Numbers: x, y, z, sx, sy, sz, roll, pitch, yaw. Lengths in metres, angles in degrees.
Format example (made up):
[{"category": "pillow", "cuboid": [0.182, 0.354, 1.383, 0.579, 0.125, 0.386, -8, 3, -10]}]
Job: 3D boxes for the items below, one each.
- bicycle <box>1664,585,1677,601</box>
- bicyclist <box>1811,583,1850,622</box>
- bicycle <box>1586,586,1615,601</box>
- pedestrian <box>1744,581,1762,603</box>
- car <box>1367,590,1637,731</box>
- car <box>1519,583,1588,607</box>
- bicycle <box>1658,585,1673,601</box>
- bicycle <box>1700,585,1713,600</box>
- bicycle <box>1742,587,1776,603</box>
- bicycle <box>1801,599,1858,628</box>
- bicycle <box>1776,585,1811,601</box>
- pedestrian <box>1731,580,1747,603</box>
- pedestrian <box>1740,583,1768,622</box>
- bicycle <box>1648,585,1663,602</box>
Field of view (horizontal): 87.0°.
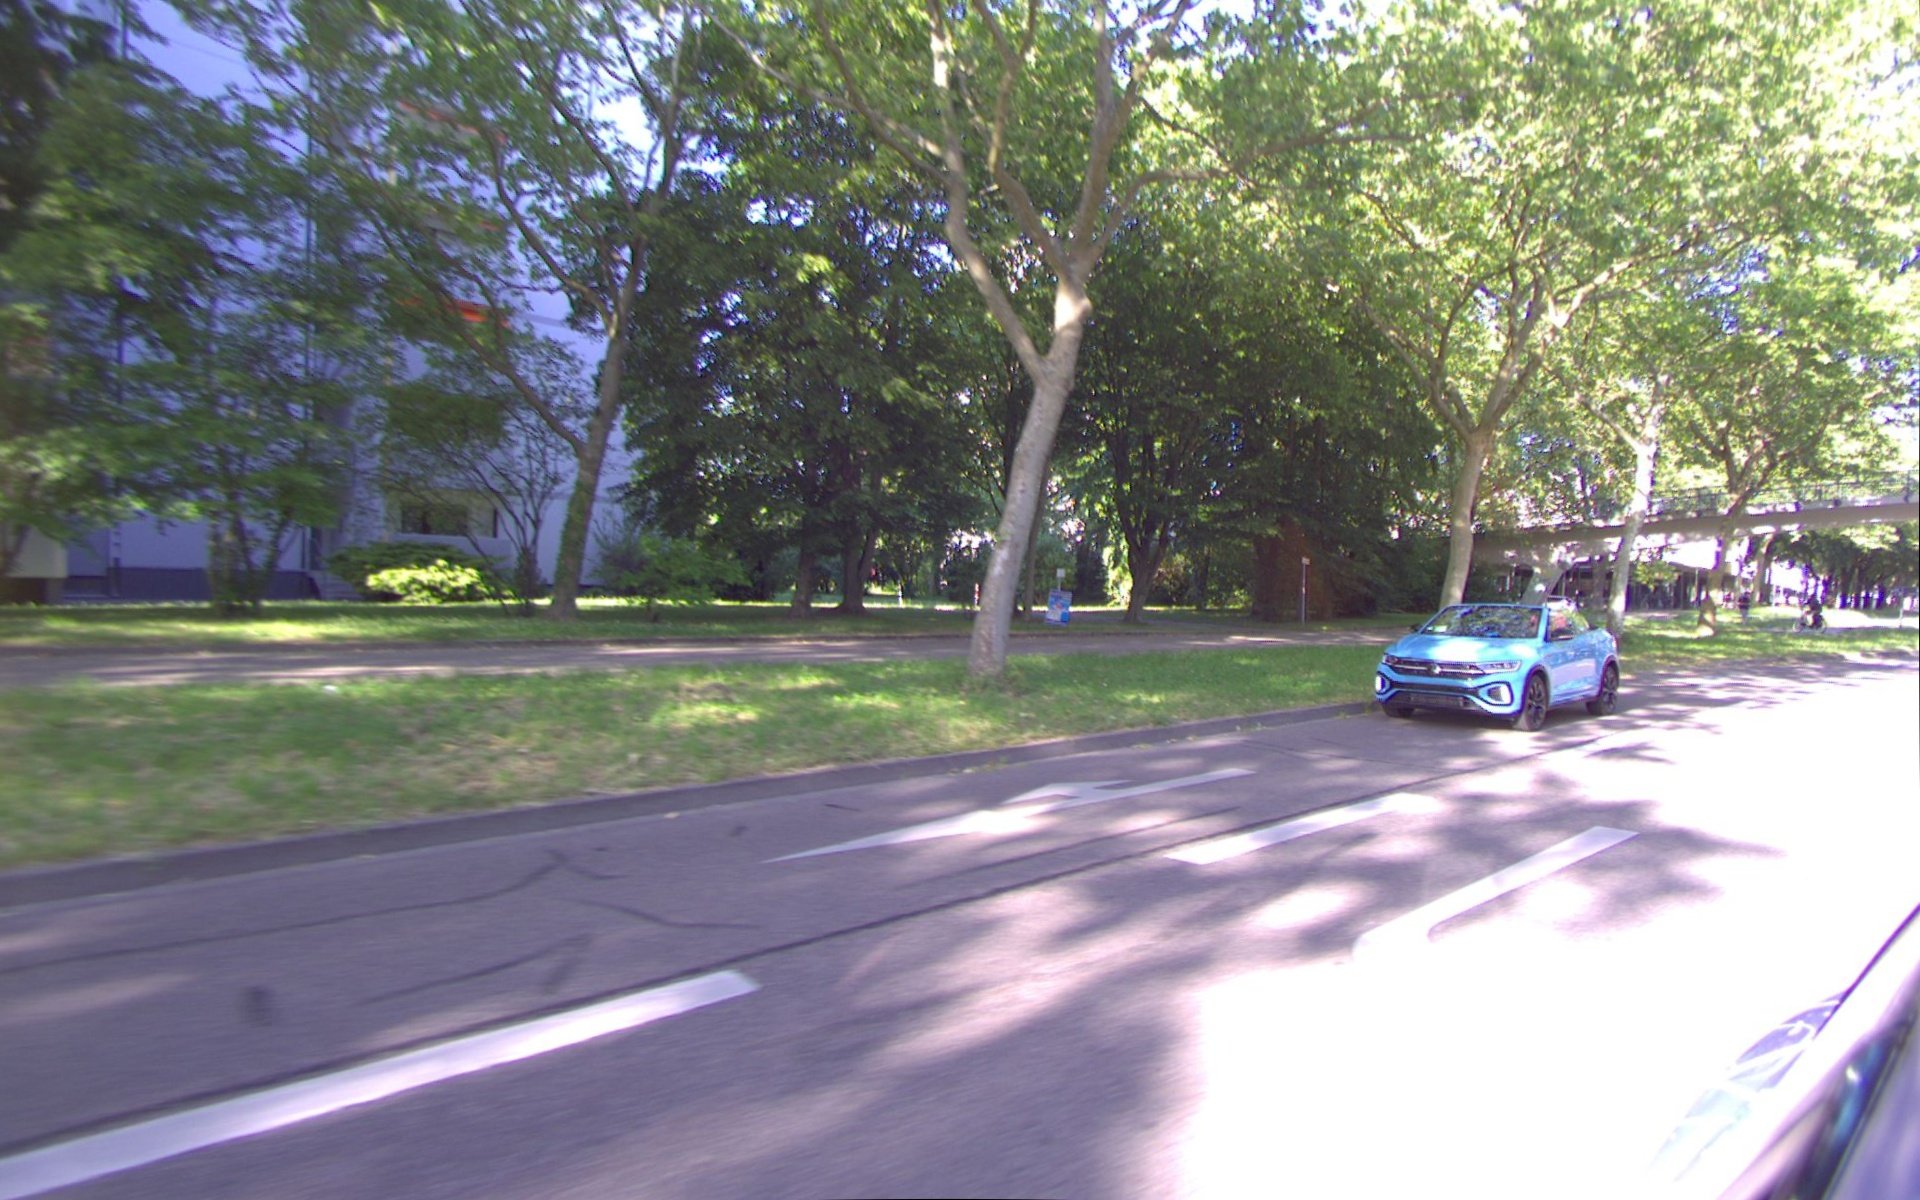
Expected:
[{"category": "bicycle", "cuboid": [57.616, -0.579, 82.056, 1.776, 1.269, 0.576, -1, 0, -43]}, {"category": "bicyclist", "cuboid": [38.473, 0.106, 44.734, 0.798, 1.652, 0.958, 3, 1, -5]}, {"category": "bicycle", "cuboid": [50.021, -0.529, 79.038, 1.799, 1.129, 0.700, 2, 3, 42]}, {"category": "pedestrian", "cuboid": [63.714, -0.631, 81.312, 1.125, 1.729, 0.722, 2, 1, 40]}, {"category": "car", "cuboid": [7.091, 0.646, 13.081, 4.029, 1.502, 1.779, -1, 2, -41]}, {"category": "car", "cuboid": [40.249, -0.368, 68.620, 1.681, 1.515, 3.731, 3, -1, -44]}, {"category": "bicycle", "cuboid": [56.187, -0.555, 80.592, 1.776, 1.269, 0.576, -1, 0, -43]}, {"category": "bicycle", "cuboid": [63.138, -0.613, 85.608, 1.776, 1.269, 0.576, -1, 0, -43]}, {"category": "bicycle", "cuboid": [64.306, -0.413, 81.441, 0.550, 1.172, 2.077, 1, 2, -27]}, {"category": "bicycle", "cuboid": [38.443, 0.577, 44.769, 0.798, 1.161, 1.840, 1, 3, -5]}, {"category": "bicycle", "cuboid": [64.913, -0.575, 78.832, 2.063, 1.172, 0.554, 3, 2, 38]}, {"category": "pedestrian", "cuboid": [64.934, -0.690, 84.370, 0.963, 1.863, 0.939, 2, 1, 39]}, {"category": "pedestrian", "cuboid": [37.095, 0.098, 47.273, 0.725, 1.800, 0.661, 2, 0, -4]}, {"category": "bicycle", "cuboid": [53.440, -0.510, 77.772, 1.776, 1.269, 0.576, -1, 0, -43]}]
